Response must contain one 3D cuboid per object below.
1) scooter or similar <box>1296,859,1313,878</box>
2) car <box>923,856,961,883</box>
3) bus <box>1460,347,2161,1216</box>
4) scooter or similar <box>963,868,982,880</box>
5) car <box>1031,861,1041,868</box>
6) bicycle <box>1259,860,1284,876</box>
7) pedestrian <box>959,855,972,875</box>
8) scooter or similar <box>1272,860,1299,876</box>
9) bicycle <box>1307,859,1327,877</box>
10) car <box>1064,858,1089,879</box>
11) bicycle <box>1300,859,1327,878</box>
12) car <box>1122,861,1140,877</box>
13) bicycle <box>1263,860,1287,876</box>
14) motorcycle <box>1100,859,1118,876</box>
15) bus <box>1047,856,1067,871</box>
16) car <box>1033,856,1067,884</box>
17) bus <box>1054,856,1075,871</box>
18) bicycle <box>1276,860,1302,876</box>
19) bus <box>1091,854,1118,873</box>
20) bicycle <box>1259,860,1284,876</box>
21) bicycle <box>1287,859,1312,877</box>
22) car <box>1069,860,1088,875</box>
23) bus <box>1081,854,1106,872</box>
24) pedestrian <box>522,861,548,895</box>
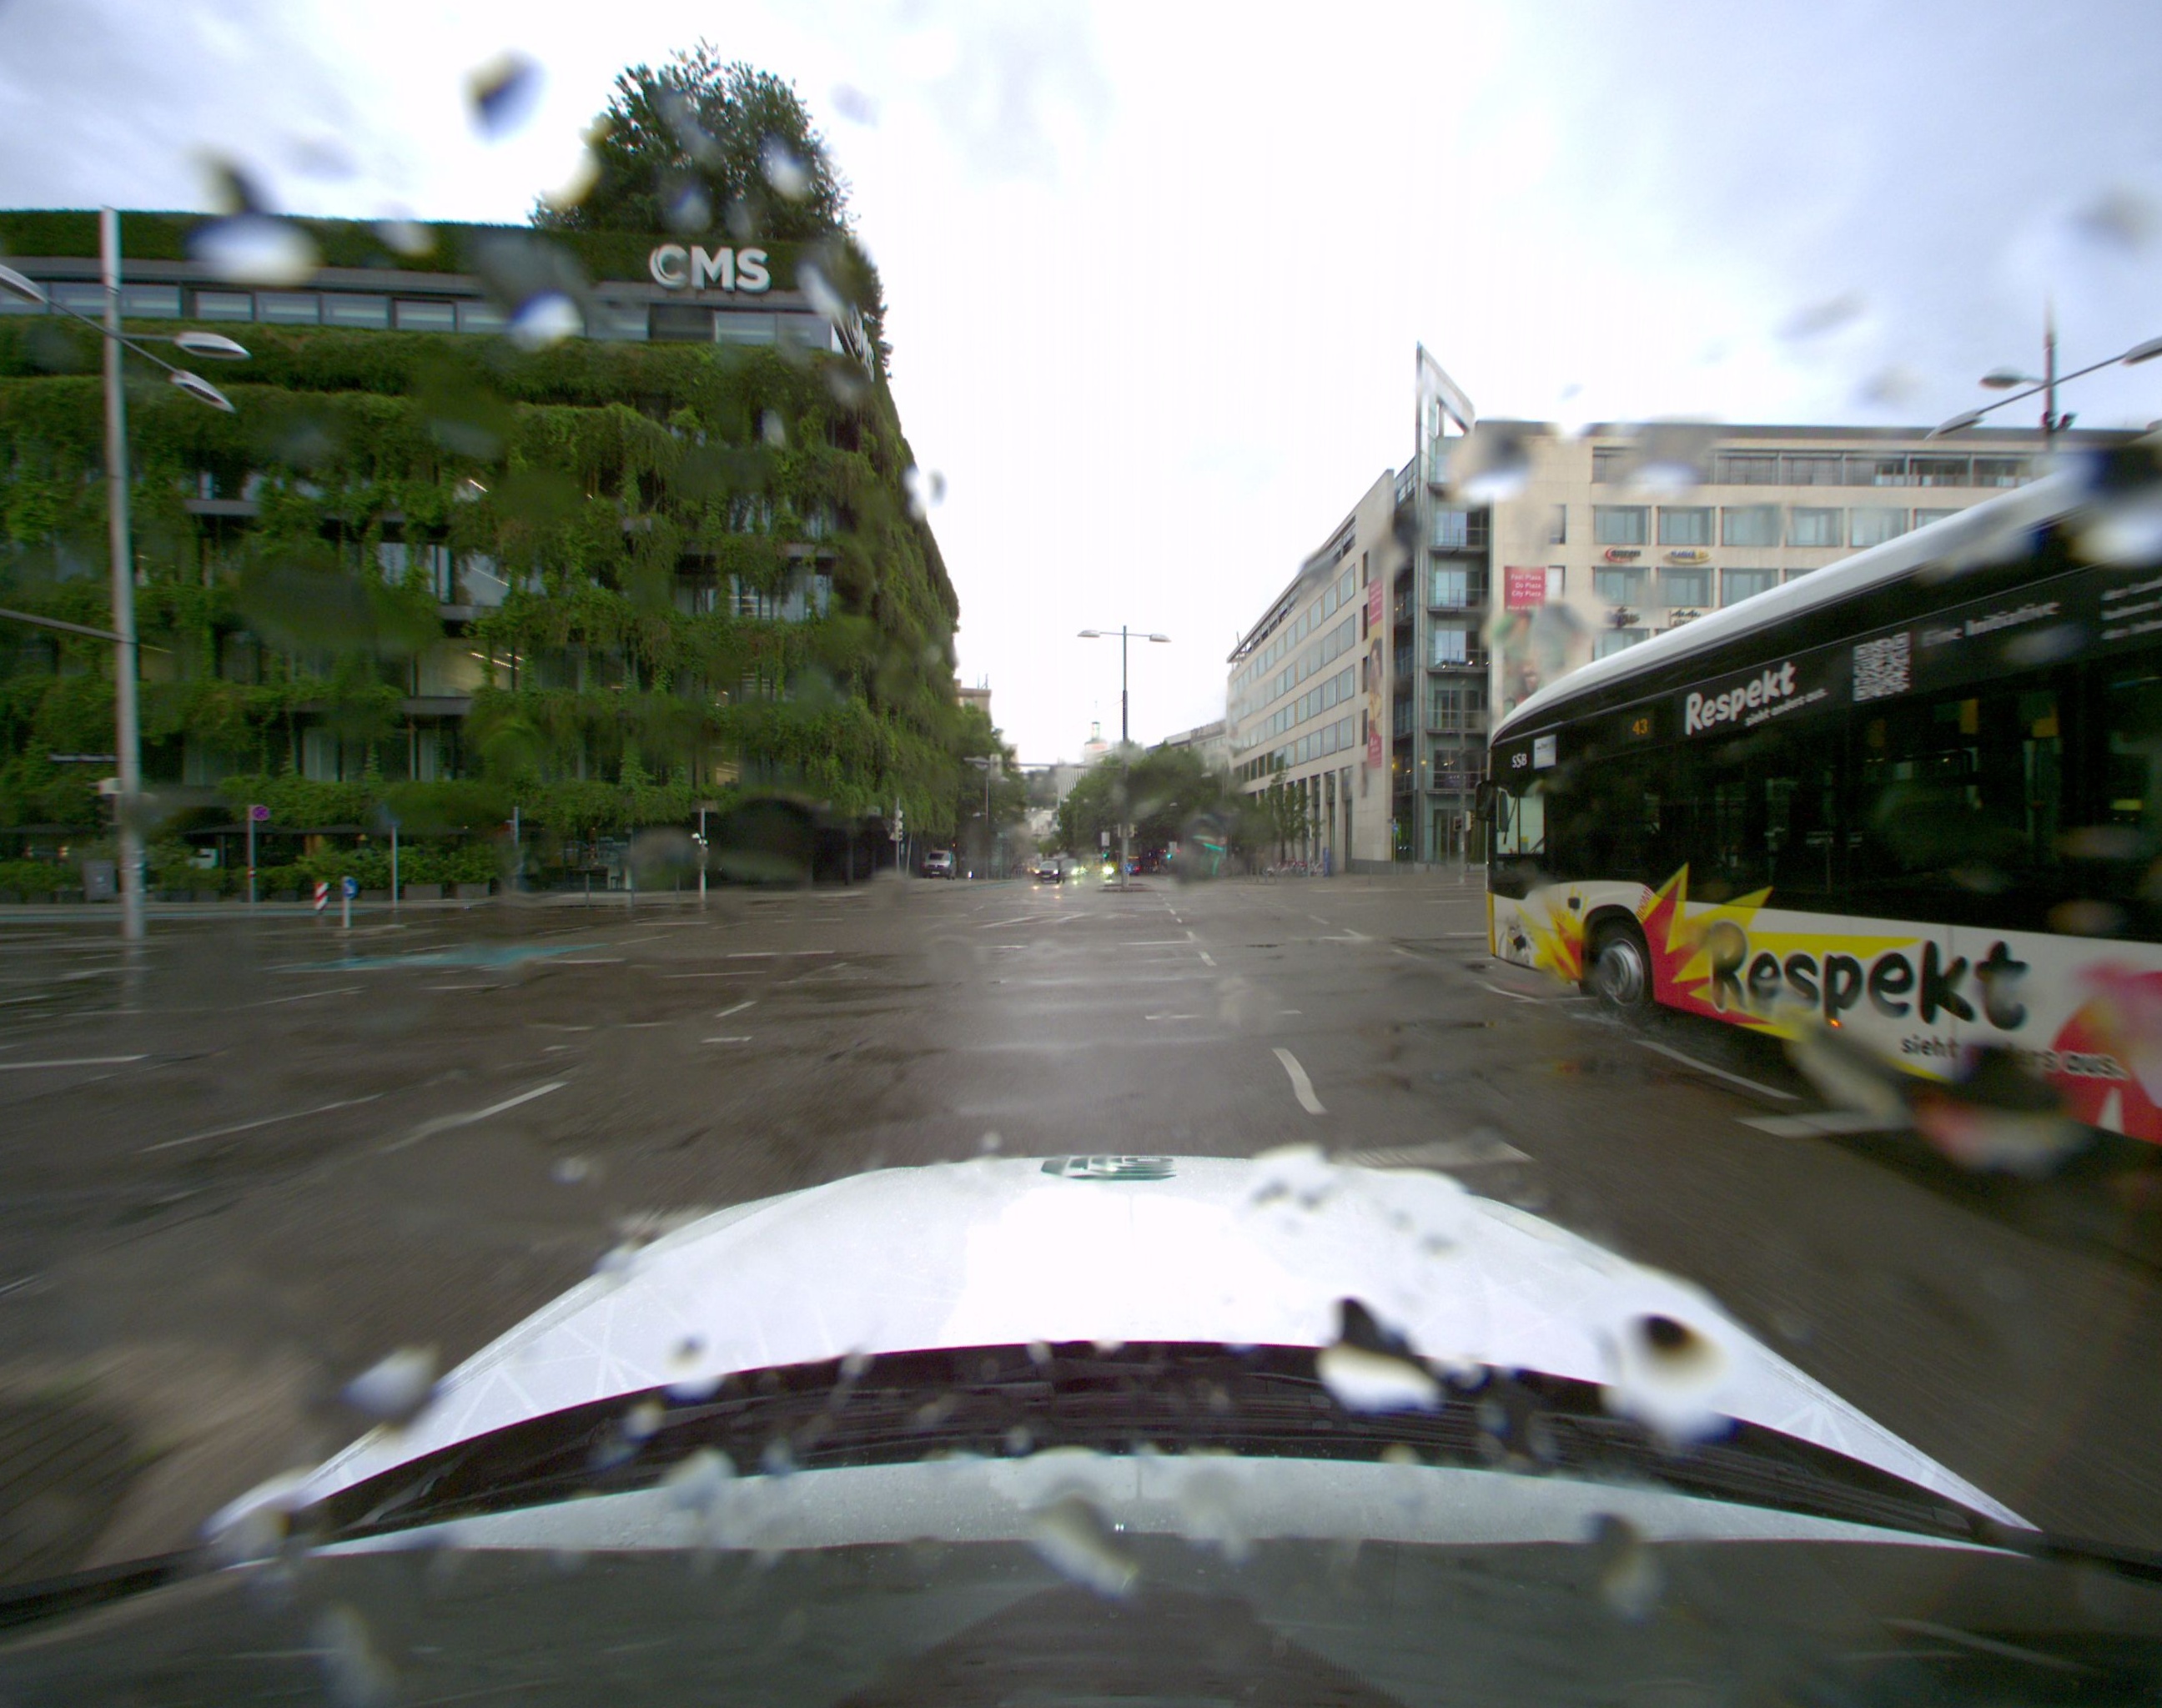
[{"bbox_3d":[14.273,0.917,52.099,0.951,1.194,0.458,-1,-2,42],"label":"scooter or similar"},{"bbox_3d":[-9.688,1.068,56.939,1.863,1.839,4.001,0,-1,2],"label":"car"},{"bbox_3d":[5.833,-0.260,5.057,2.871,3.451,9.764,0,-1,3],"label":"bus"},{"bbox_3d":[-9.510,1.754,71.148,0.616,1.004,1.671,-1,-1,40],"label":"scooter or similar"},{"bbox_3d":[-9.788,2.352,178.656,1.775,1.508,4.001,0,-1,2],"label":"car"},{"bbox_3d":[14.357,1.063,61.353,1.769,1.194,0.587,0,-1,4],"label":"bicycle"},{"bbox_3d":[-9.533,0.924,67.410,0.930,1.644,0.774,0,-1,1],"label":"pedestrian"},{"bbox_3d":[14.785,1.023,58.914,1.769,1.194,0.587,0,-1,4],"label":"scooter or similar"},{"bbox_3d":[15.914,0.970,54.850,0.579,1.194,1.794,-1,-1,40],"label":"bicycle"},{"bbox_3d":[-0.406,1.260,71.707,2.157,1.765,5.109,0,-1,-1],"label":"car"},{"bbox_3d":[15.056,0.925,52.763,1.607,1.194,0.590,-1,-1,28],"label":"bicycle"},{"bbox_3d":[6.058,1.824,99.643,1.542,2.014,4.659,0,-1,-5],"label":"car"},{"bbox_3d":[14.827,1.076,62.258,1.769,1.194,0.587,0,-1,4],"label":"bicycle"},{"bbox_3d":[2.645,1.297,78.182,1.547,1.515,4.382,0,-1,-1],"label":"motorcycle"},{"bbox_3d":[-4.977,1.862,168.906,2.631,2.995,7.415,0,0,-13],"label":"bus"},{"bbox_3d":[-2.071,1.062,55.089,2.157,1.765,5.109,0,-1,-1],"label":"car"},{"bbox_3d":[-3.306,1.831,161.756,2.631,2.995,7.294,0,0,-13],"label":"bus"},{"bbox_3d":[15.167,1.032,59.526,1.769,1.194,0.587,0,-1,4],"label":"bicycle"},{"bbox_3d":[3.822,1.536,134.246,2.631,2.995,7.415,0,0,-13],"label":"bus"},{"bbox_3d":[14.179,1.053,60.723,1.769,1.194,0.587,0,-1,4],"label":"bicycle"},{"bbox_3d":[14.589,0.951,54.329,0.587,1.194,1.768,0,-1,-26],"label":"bicycle"},{"bbox_3d":[-0.362,1.559,94.976,2.157,1.765,5.109,0,-1,-1],"label":"car"},{"bbox_3d":[2.154,1.602,141.445,2.631,2.995,7.415,0,0,-13],"label":"bus"},{"bbox_3d":[-21.611,0.952,32.251,0.612,1.311,0.598,-1,-1,-4],"label":"pedestrian"}]
